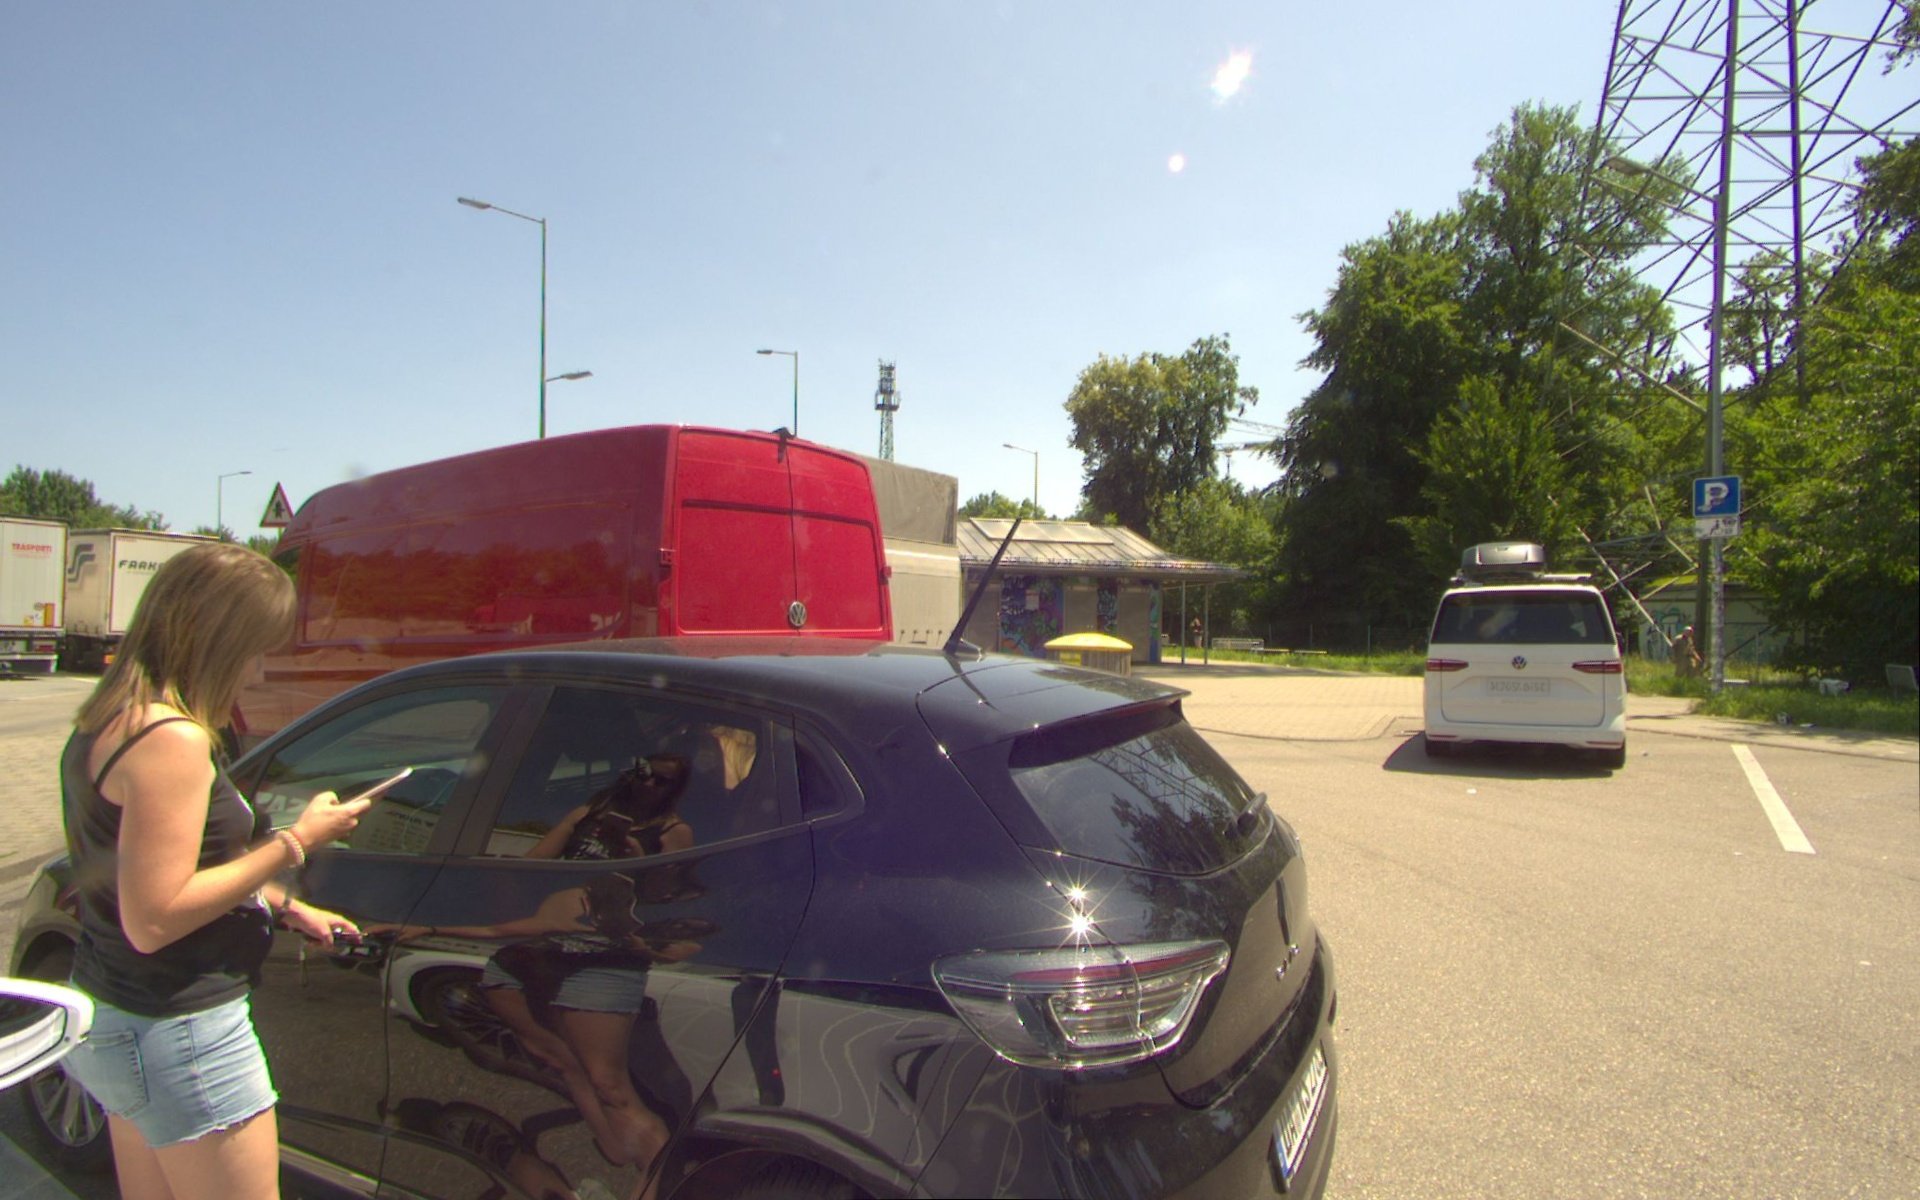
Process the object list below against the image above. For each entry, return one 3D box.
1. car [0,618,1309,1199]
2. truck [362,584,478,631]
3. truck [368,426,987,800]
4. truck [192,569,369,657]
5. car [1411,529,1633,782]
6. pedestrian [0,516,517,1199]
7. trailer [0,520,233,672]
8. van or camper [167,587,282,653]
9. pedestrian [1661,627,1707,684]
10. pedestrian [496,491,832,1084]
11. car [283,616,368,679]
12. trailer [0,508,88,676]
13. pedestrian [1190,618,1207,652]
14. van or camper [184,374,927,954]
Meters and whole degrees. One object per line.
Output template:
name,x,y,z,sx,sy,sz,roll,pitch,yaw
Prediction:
car,-1.066,0.833,2.848,3.706,1.503,1.615,0,-1,27
truck,-34.742,0.455,64.273,9.637,2.857,2.121,0,-1,32
truck,-3.269,0.129,10.561,6.874,2.828,2.460,0,-1,35
truck,-31.709,0.498,46.472,11.255,3.615,2.484,2,-1,33
car,6.531,0.564,11.563,1.892,2.354,4.074,-1,-1,32
pedestrian,-1.274,0.701,1.736,0.644,1.606,0.646,1,0,27
trailer,-27.307,-0.206,31.461,12.255,4.090,2.862,2,-1,33
van or camper,-30.426,0.812,41.382,5.296,2.595,2.100,0,-1,34
pedestrian,17.986,1.378,24.886,0.695,1.392,0.607,1,0,-3
pedestrian,-1.085,0.609,3.755,0.902,1.896,0.771,1,0,27
car,-17.453,1.251,27.705,1.822,1.582,3.928,1,-1,-30
trailer,-28.367,-0.335,27.796,12.255,4.090,2.862,2,-1,33
pedestrian,11.042,1.622,46.332,0.577,1.536,0.592,1,0,-9
van or camper,-3.374,0.321,7.355,6.394,2.688,1.990,0,-1,36
